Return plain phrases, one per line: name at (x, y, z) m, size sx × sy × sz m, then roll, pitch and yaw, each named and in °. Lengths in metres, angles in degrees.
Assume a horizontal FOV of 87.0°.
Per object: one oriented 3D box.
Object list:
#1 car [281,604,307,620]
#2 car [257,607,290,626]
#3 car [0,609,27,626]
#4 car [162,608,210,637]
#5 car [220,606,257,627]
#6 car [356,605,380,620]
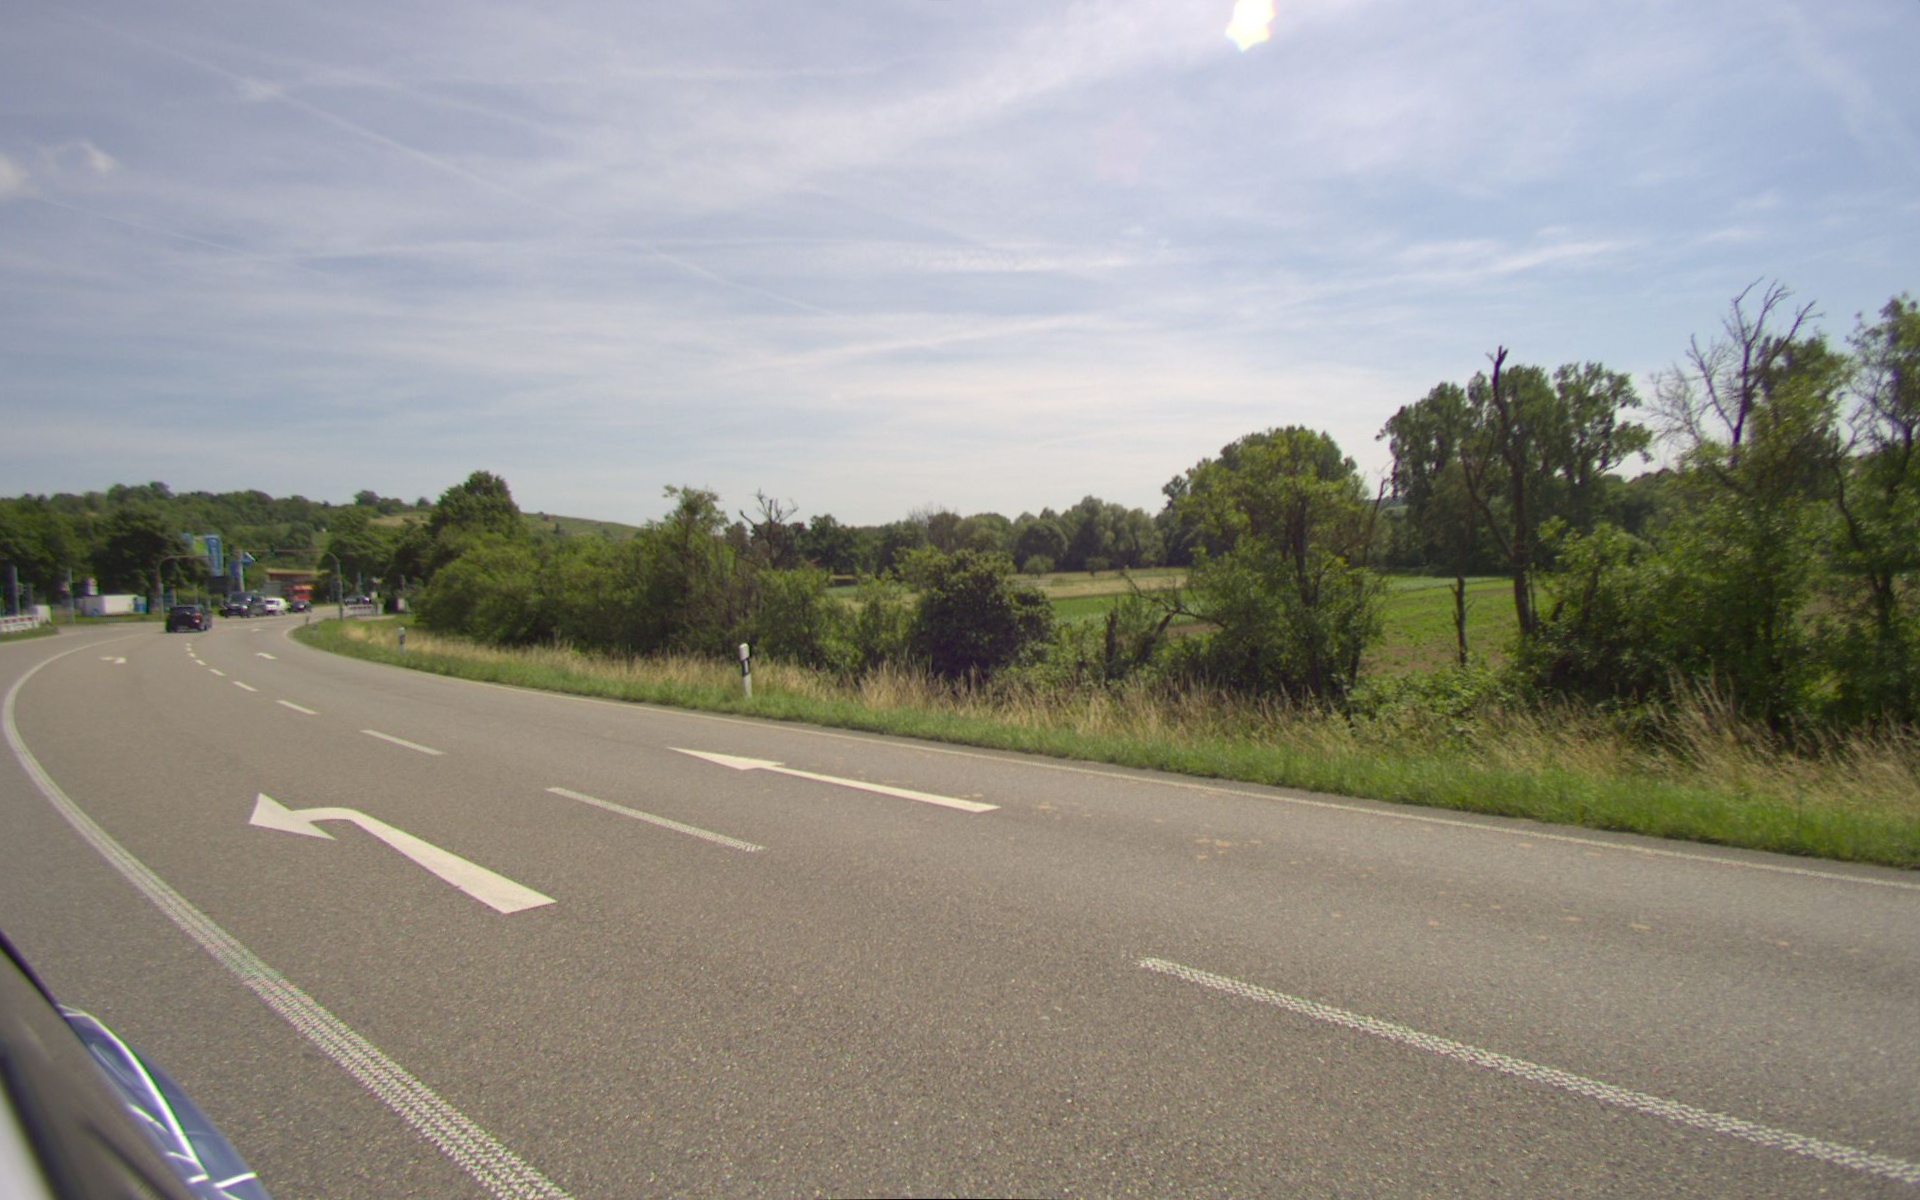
car at (-76.840, 1.334, 116.787) m, size 1.779 × 1.746 × 4.013 m, roll -2°, pitch 0°, yaw -24°
car at (-72.840, 1.727, 107.392) m, size 1.779 × 1.745 × 4.013 m, roll -2°, pitch 2°, yaw -18°
car at (-100.346, 1.894, 105.383) m, size 1.974 × 1.633 × 4.624 m, roll 0°, pitch 2°, yaw 4°
car at (-47.742, 1.353, 62.494) m, size 1.746 × 1.671 × 4.013 m, roll -1°, pitch 1°, yaw -28°
car at (-70.071, 1.568, 98.382) m, size 1.779 × 1.745 × 4.013 m, roll -2°, pitch 2°, yaw -18°
car at (-70.609, 1.444, 120.792) m, size 1.965 × 1.708 × 4.013 m, roll 0°, pitch 1°, yaw -23°
